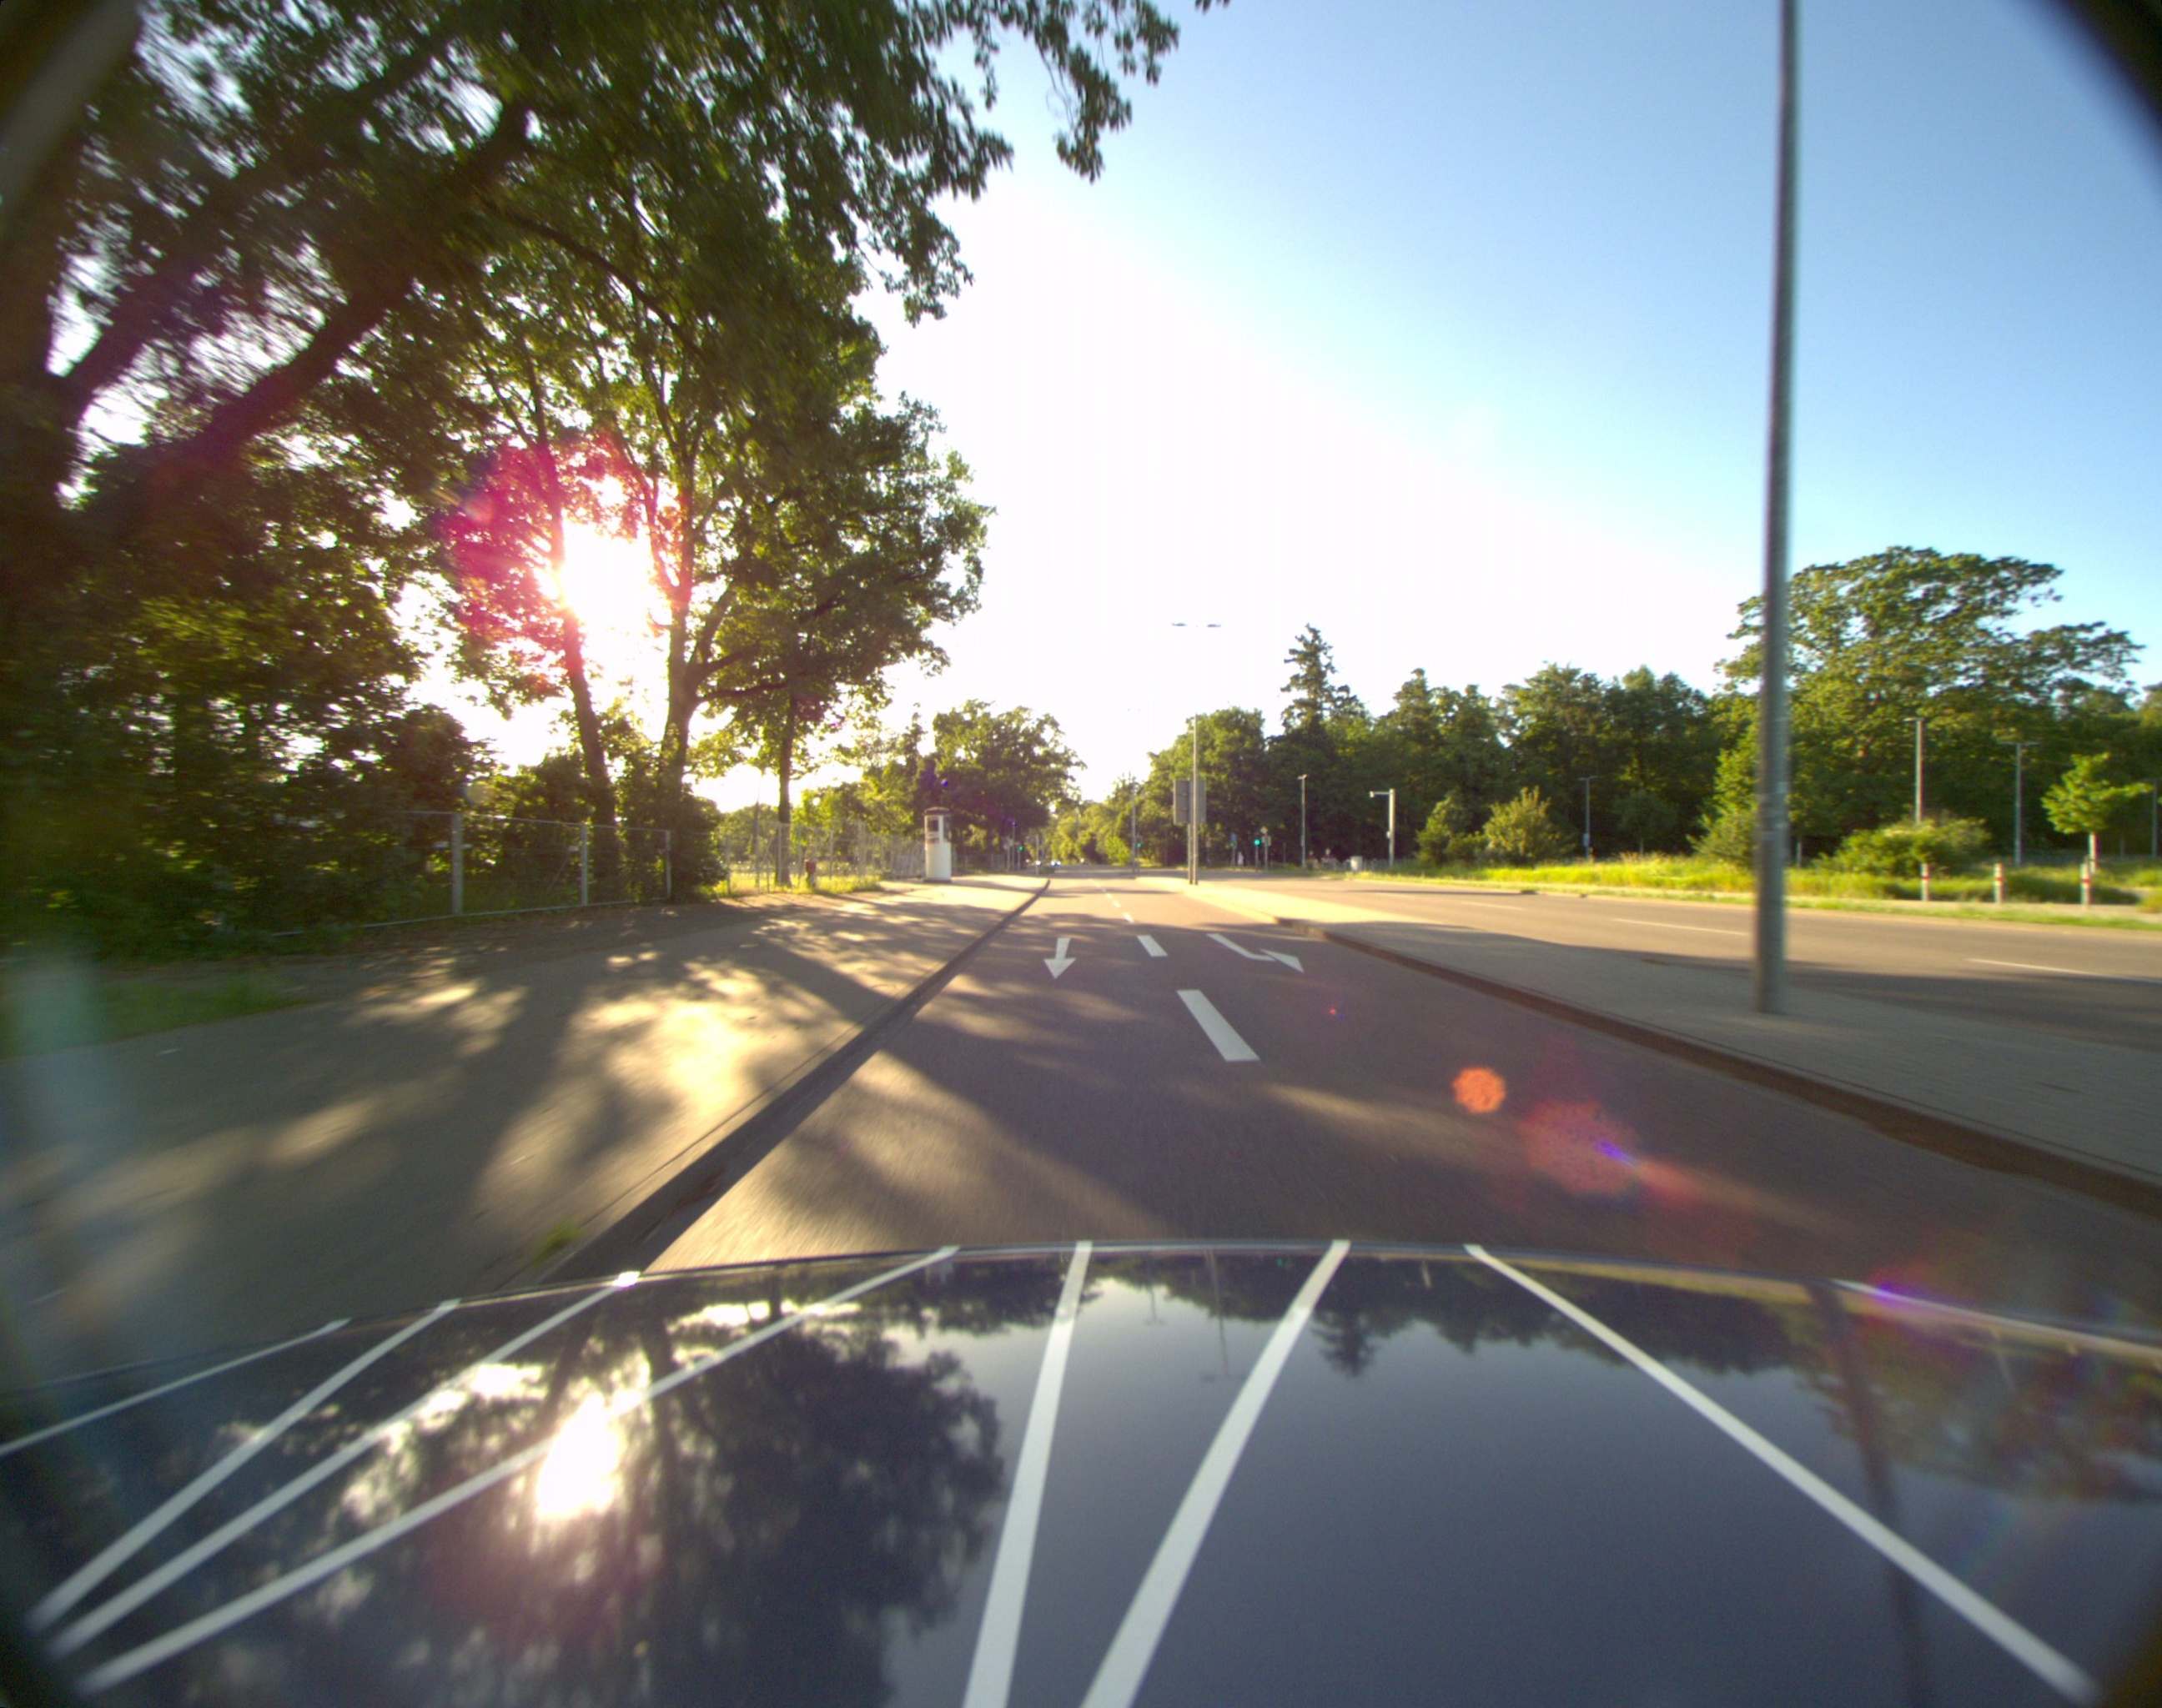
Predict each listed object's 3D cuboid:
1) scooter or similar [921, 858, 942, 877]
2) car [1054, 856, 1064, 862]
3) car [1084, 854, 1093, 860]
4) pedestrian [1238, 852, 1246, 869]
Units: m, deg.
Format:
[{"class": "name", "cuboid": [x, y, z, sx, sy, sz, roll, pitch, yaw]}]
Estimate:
[{"class": "scooter or similar", "cuboid": [-9.551, 0.855, 48.444, 1.303, 1.230, 0.334, 0, 0, -35]}, {"class": "car", "cuboid": [-5.376, 1.251, 186.810, 1.842, 1.395, 3.997, -2, 0, -9]}, {"class": "car", "cuboid": [1.846, 0.738, 179.880, 1.619, 1.346, 4.007, 0, 0, -7]}, {"class": "pedestrian", "cuboid": [16.800, 0.641, 79.473, 0.691, 1.764, 0.734, 0, 0, 2]}]
